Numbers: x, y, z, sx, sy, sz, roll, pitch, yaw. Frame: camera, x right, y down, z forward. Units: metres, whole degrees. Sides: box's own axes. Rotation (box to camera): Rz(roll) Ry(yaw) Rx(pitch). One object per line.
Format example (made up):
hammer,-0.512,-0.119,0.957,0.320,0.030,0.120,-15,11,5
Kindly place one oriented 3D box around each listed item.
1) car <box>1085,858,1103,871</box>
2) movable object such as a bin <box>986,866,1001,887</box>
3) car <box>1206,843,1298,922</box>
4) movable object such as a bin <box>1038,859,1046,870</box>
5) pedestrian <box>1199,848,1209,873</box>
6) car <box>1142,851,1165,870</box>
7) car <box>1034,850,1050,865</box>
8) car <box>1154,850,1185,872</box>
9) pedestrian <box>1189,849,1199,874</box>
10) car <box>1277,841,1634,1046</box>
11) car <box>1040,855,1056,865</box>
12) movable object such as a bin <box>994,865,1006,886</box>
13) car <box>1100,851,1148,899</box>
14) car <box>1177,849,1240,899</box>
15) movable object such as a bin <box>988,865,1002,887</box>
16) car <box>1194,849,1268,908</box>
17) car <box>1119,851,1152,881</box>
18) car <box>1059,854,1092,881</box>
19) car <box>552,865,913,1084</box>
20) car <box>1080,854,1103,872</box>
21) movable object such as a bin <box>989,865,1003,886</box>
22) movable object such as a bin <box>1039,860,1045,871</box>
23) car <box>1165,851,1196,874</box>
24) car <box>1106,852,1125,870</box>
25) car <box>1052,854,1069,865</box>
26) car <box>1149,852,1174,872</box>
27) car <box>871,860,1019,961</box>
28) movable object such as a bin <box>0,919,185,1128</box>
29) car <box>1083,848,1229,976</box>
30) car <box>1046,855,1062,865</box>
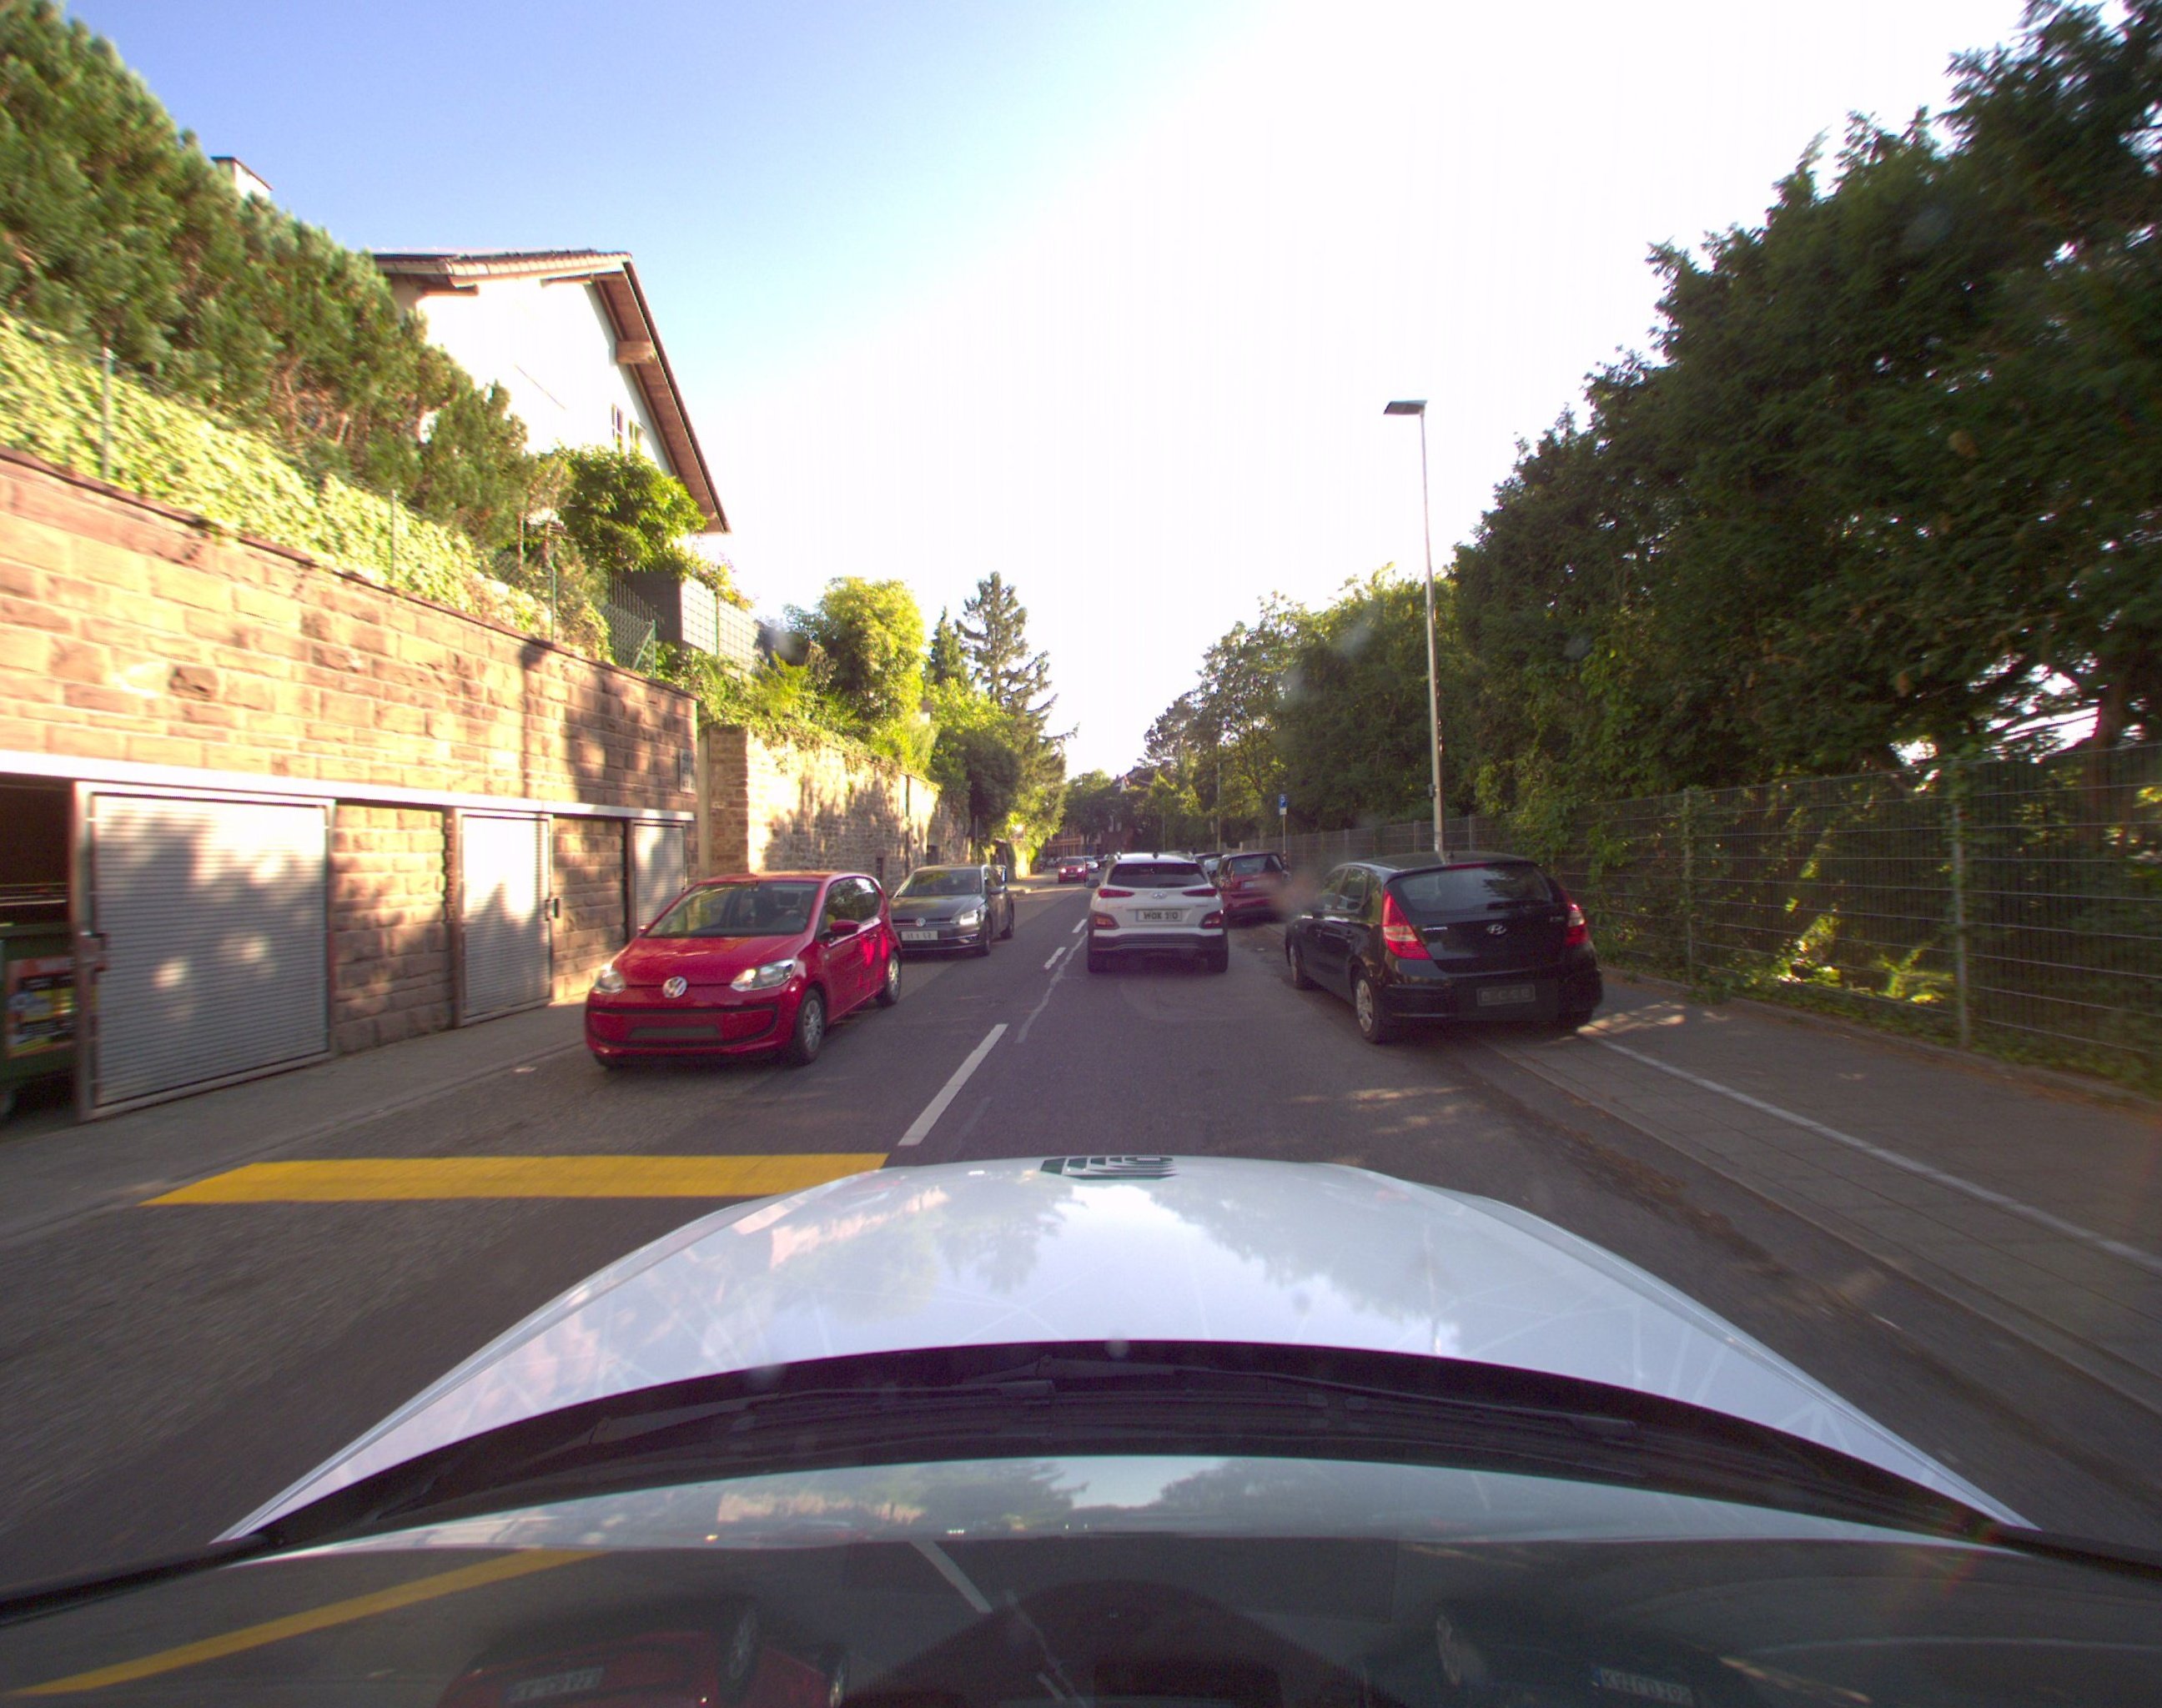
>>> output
car,1.427,1.200,91.619,1.587,1.386,3.354,-1,0,-6
movable object such as a bin,-3.983,1.032,37.064,0.581,0.937,0.439,0,-1,1
car,3.687,0.580,17.934,1.645,1.564,2.877,-1,0,6
movable object such as a bin,-4.086,1.087,84.989,0.788,1.189,0.773,0,-1,2
pedestrian,8.040,0.426,53.267,0.501,1.569,0.504,-3,-1,4
car,6.461,0.565,73.027,1.589,1.489,3.601,-4,0,-1
car,-6.823,0.599,142.089,1.932,2.583,4.371,-2,0,-15
car,6.699,0.541,62.002,1.591,1.565,3.993,-3,-1,-5
pedestrian,7.383,0.460,53.308,0.501,1.606,0.492,-3,-1,4
car,3.172,0.648,7.872,1.786,1.441,4.004,-1,0,3
car,-5.420,0.959,133.122,1.758,1.616,3.982,0,0,-14
movable object such as a bin,-3.850,1.022,38.646,0.488,0.964,0.583,0,0,1
car,1.572,0.681,28.697,1.504,1.533,3.553,-1,0,5
car,4.333,0.643,27.996,1.620,1.509,2.903,-3,1,0
movable object such as a bin,-3.963,1.009,37.523,0.571,0.985,0.439,0,-1,1
car,4.181,0.629,23.365,1.702,1.498,4.822,1,0,6
car,2.849,0.612,42.042,1.562,1.477,3.554,0,0,6
car,-0.285,0.752,46.897,1.543,1.466,3.572,-3,0,4
car,-2.785,0.858,7.417,1.621,1.422,3.564,-2,0,2
car,0.967,0.787,71.998,1.733,1.474,4.005,-5,-1,4
movable object such as a bin,-3.974,1.012,38.013,0.571,0.985,0.439,0,-1,1
movable object such as a bin,-3.578,1.059,74.894,0.493,1.011,1.113,0,-1,3
car,6.889,0.575,56.581,1.680,1.431,4.001,-3,0,1
car,3.128,0.647,74.422,1.584,1.582,3.360,-1,0,0
car,-3.171,0.869,123.329,1.758,1.616,3.982,0,0,-14
car,6.607,0.628,67.182,1.589,1.519,3.931,-4,0,-1
car,-2.157,0.852,13.974,1.642,1.411,3.934,-2,0,3
movable object such as a bin,-6.379,1.033,5.156,0.655,1.176,0.666,-2,0,4
car,1.132,0.713,11.916,1.763,1.542,4.007,0,0,6
car,-4.235,0.912,127.980,1.758,1.616,3.982,0,0,-14
